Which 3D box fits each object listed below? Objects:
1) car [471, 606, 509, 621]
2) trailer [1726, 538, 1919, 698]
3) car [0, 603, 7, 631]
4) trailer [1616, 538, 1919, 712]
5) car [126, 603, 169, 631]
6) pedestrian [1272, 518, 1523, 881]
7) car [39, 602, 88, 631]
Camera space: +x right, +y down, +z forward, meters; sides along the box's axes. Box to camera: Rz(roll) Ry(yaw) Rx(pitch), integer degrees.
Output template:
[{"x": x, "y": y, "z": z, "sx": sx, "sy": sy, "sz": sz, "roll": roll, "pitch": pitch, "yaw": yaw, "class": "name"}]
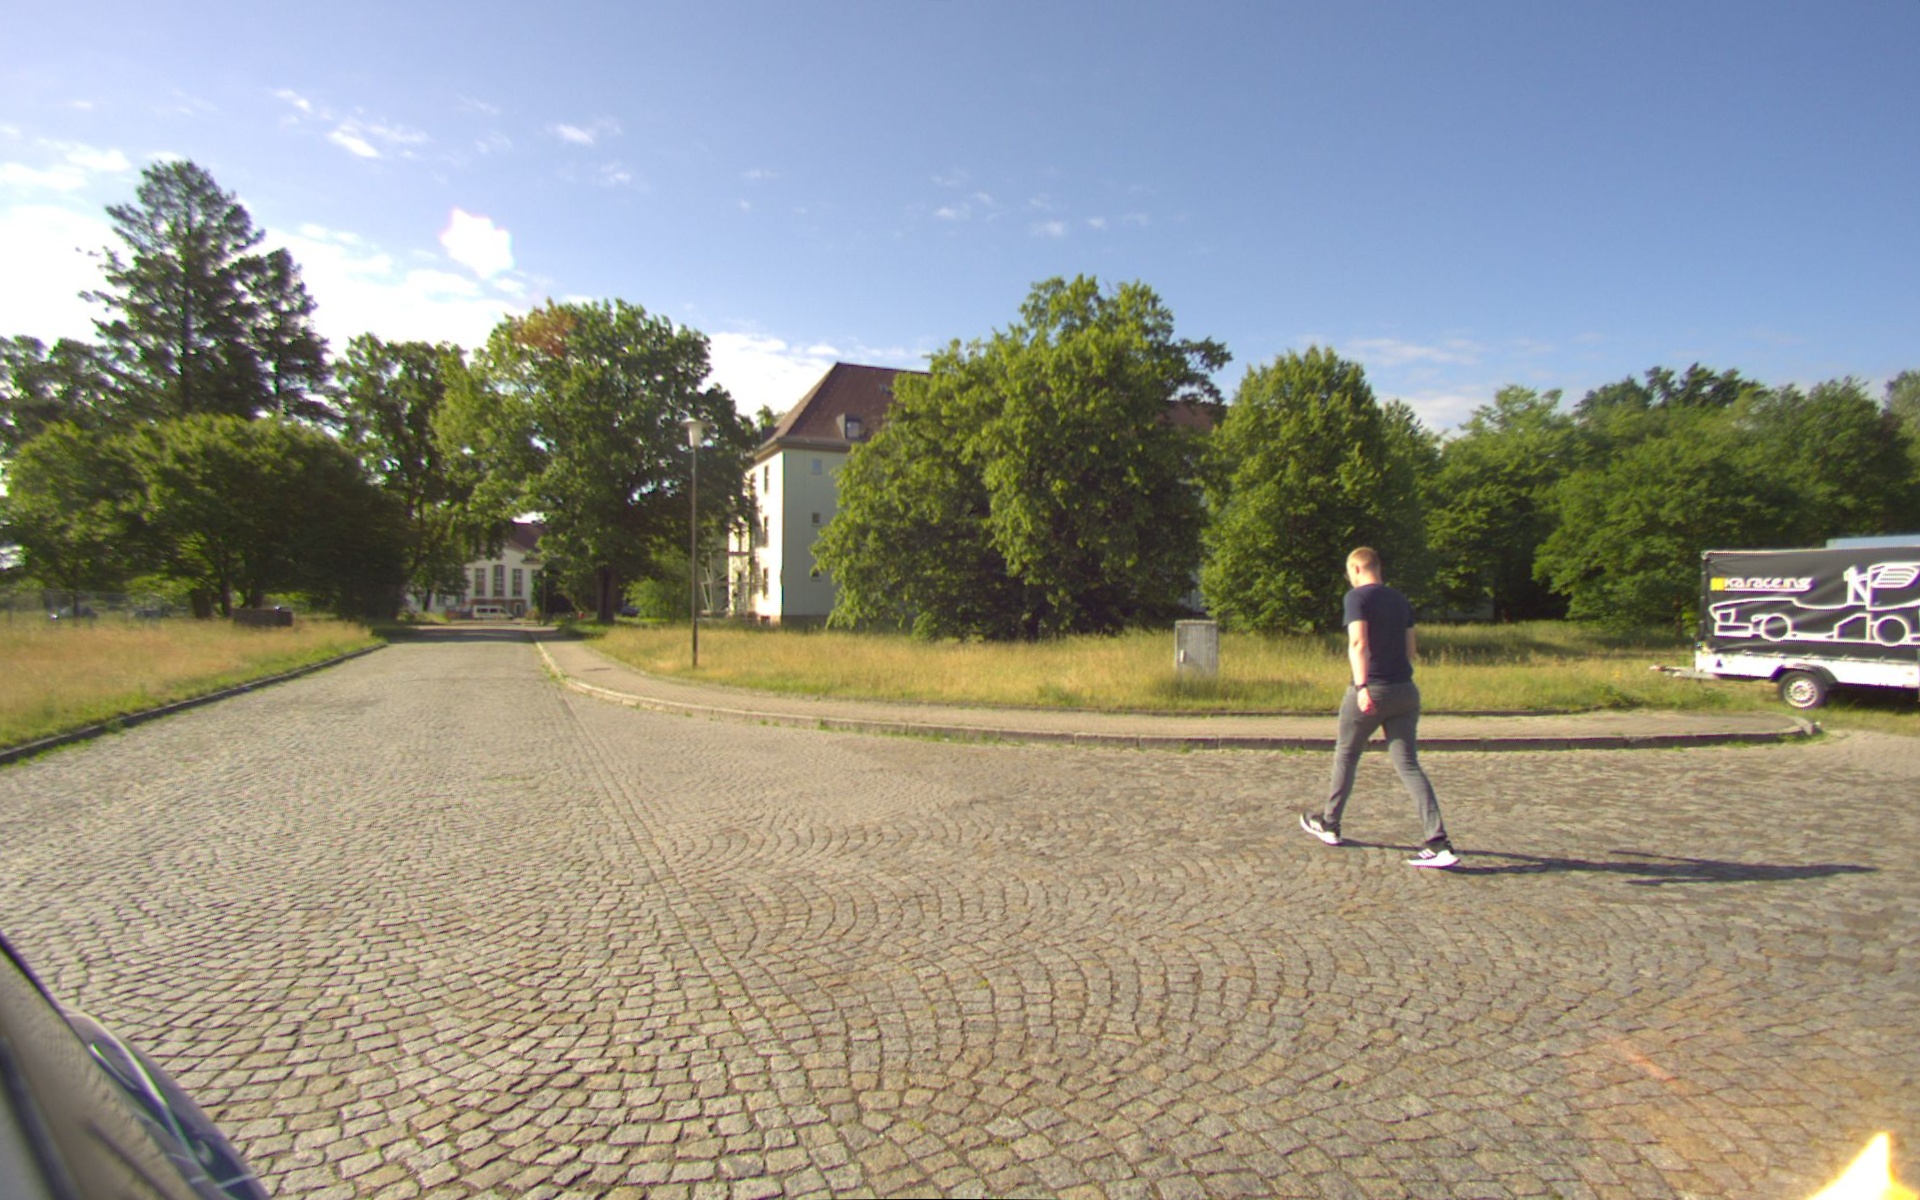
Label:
[{"x": -66.515, "y": 1.923, "z": 143.340, "sx": 4.789, "sy": 2.111, "sz": 2.007, "roll": 1, "pitch": -1, "yaw": -24, "class": "car"}, {"x": 15.248, "y": 0.274, "z": 15.797, "sx": 1.909, "sy": 2.409, "sz": 4.870, "roll": 1, "pitch": 0, "yaw": -30, "class": "trailer"}, {"x": -71.355, "y": 1.234, "z": 73.538, "sx": 1.965, "sy": 2.029, "sz": 4.013, "roll": 1, "pitch": -1, "yaw": -27, "class": "car"}, {"x": 12.808, "y": 0.320, "z": 15.297, "sx": 1.979, "sy": 2.290, "sz": 4.483, "roll": 1, "pitch": 0, "yaw": -24, "class": "trailer"}, {"x": -61.671, "y": 1.277, "z": 76.907, "sx": 1.966, "sy": 2.029, "sz": 4.012, "roll": 1, "pitch": -1, "yaw": -31, "class": "car"}, {"x": 2.574, "y": 0.536, "z": 6.063, "sx": 0.786, "sy": 1.929, "sz": 1.146, "roll": 1, "pitch": -1, "yaw": -23, "class": "pedestrian"}, {"x": -66.418, "y": 1.212, "z": 75.046, "sx": 1.966, "sy": 2.029, "sz": 4.012, "roll": 1, "pitch": -1, "yaw": -31, "class": "car"}]
